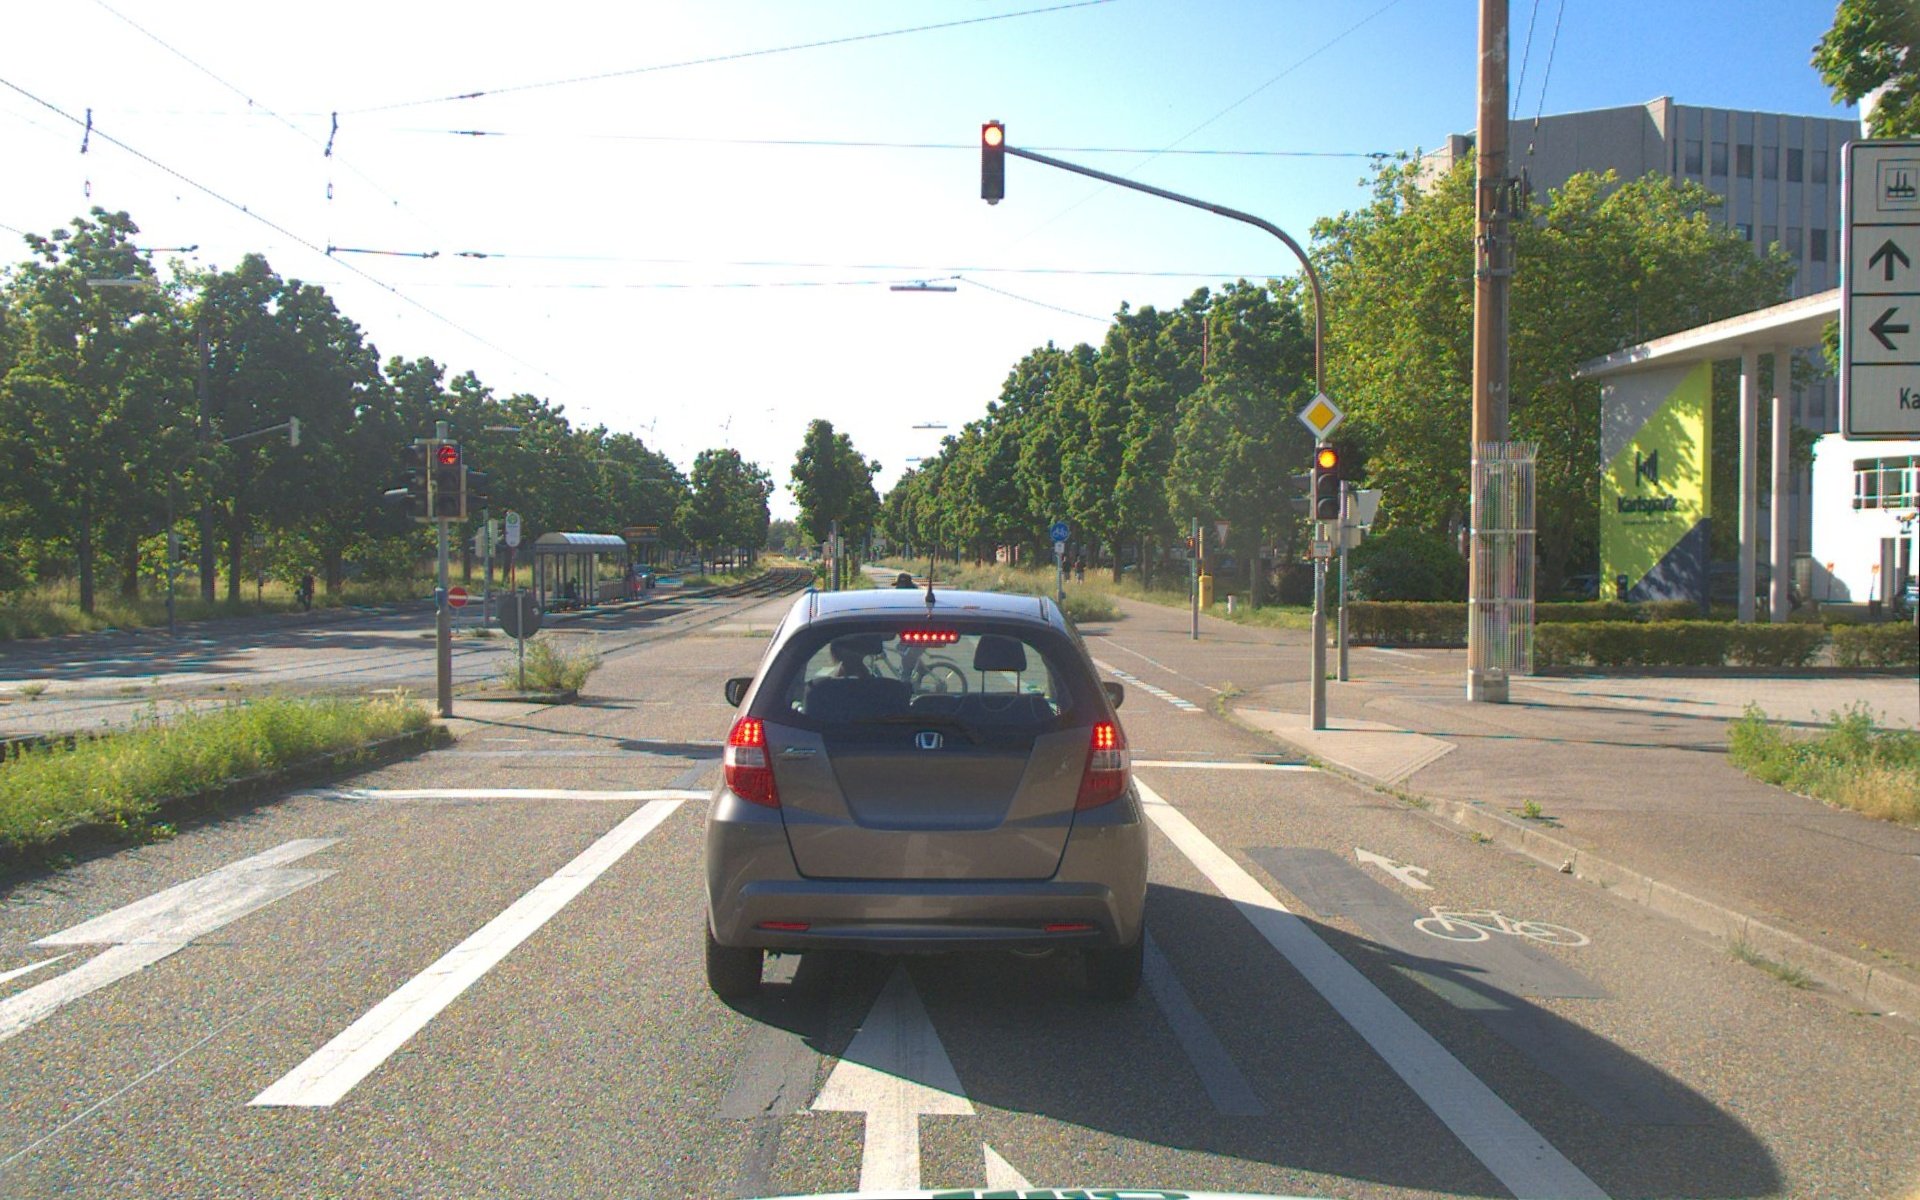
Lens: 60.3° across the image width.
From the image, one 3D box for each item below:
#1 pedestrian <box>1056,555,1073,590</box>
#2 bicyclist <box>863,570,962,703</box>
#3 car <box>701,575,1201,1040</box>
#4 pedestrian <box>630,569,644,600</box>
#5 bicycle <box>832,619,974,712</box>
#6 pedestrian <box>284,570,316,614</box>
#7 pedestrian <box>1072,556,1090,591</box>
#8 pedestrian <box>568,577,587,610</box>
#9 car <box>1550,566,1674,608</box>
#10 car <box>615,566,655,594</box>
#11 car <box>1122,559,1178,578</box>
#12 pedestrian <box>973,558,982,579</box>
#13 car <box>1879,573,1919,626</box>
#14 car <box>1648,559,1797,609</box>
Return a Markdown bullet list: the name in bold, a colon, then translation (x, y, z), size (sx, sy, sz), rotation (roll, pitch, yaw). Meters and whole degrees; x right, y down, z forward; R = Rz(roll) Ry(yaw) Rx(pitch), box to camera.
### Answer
- **pedestrian**: translation (5.782, -1.502, 91.501), size (0.865, 1.917, 0.875), rotation (0, 1, -5)
- **bicyclist**: translation (-0.597, 0.446, 20.795), size (1.208, 1.621, 0.805), rotation (0, 0, -2)
- **car**: translation (-0.054, 0.694, 7.414), size (1.666, 1.550, 3.709), rotation (1, 0, -1)
- **pedestrian**: translation (-15.586, -0.768, 79.850), size (0.533, 1.473, 0.559), rotation (-1, 0, -1)
- **bicycle**: translation (-0.715, 0.814, 20.809), size (1.739, 1.121, 0.698), rotation (0, 0, -2)
- **pedestrian**: translation (-26.973, -0.338, 67.616), size (0.744, 1.764, 0.936), rotation (0, 1, 27)
- **pedestrian**: translation (6.703, -1.485, 91.532), size (0.865, 1.917, 0.875), rotation (0, 1, -5)
- **pedestrian**: translation (-15.096, -0.267, 65.296), size (0.552, 1.279, 0.580), rotation (-2, 0, -2)
- **car**: translation (26.635, -0.545, 67.601), size (4.371, 1.715, 1.892), rotation (0, 1, -7)
- **car**: translation (-23.250, -1.422, 118.323), size (2.052, 1.841, 4.791), rotation (-2, 2, -3)
- **car**: translation (16.649, -2.743, 144.822), size (4.543, 1.582, 1.997), rotation (-1, 1, -7)
- **pedestrian**: translation (1.492, -2.673, 139.442), size (0.710, 1.720, 0.820), rotation (0, -1, -3)
- **car**: translation (30.632, -0.018, 50.732), size (3.914, 1.605, 1.950), rotation (0, 1, -10)
- **car**: translation (28.001, -0.612, 60.759), size (4.803, 1.787, 2.083), rotation (0, 1, -16)
